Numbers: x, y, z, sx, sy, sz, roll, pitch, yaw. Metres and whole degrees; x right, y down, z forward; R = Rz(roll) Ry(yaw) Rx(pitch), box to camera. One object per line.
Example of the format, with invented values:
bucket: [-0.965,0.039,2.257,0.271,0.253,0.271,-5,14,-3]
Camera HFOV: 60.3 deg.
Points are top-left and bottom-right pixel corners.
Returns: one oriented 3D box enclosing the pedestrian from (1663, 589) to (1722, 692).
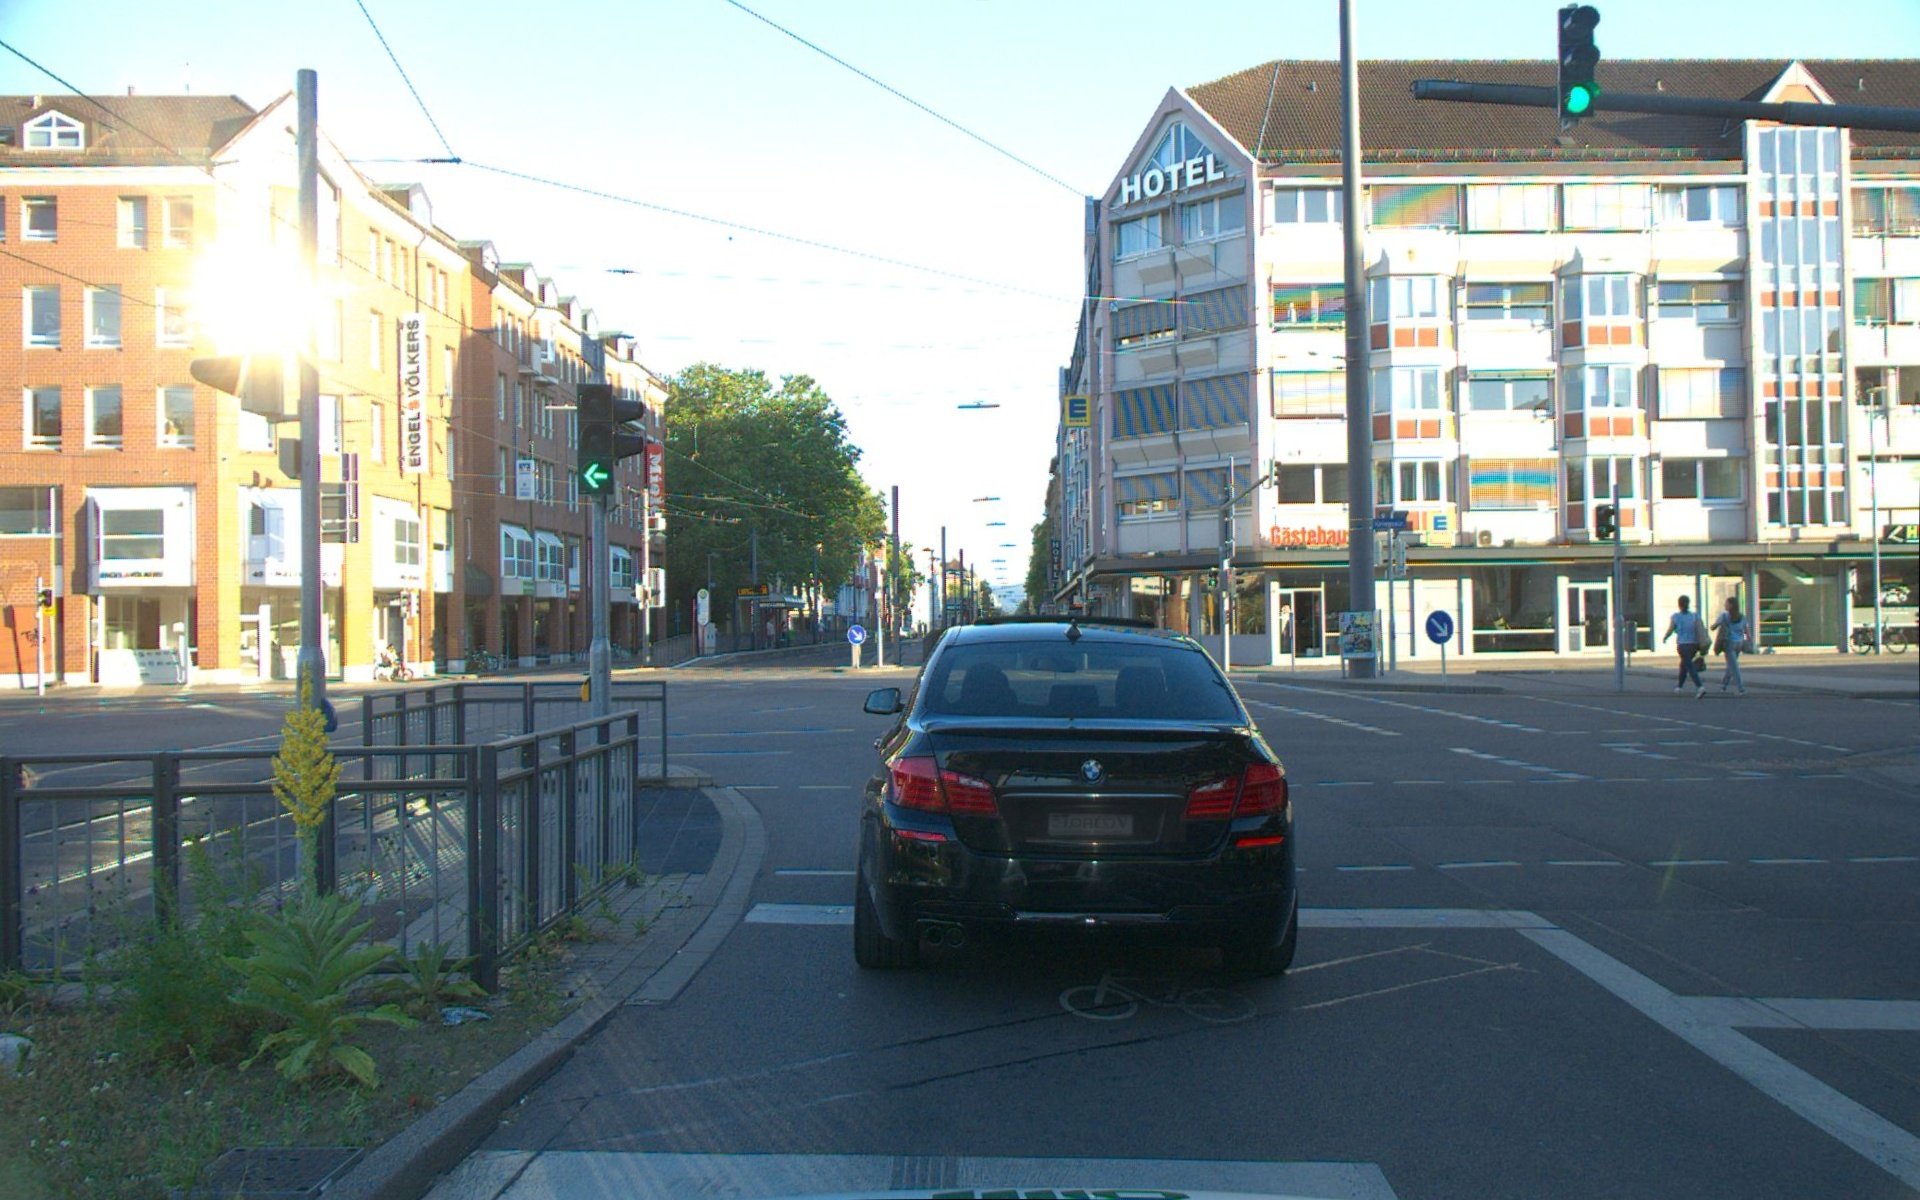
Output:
pedestrian: [12.186,0.663,27.508,0.713,1.678,0.768,-2,-1,37]

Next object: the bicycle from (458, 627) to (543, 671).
bicycle: [-19.412,2.052,69.890,3.229,1.756,1.069,-1,-1,2]

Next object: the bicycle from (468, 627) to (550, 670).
bicycle: [-19.366,2.095,71.058,3.229,1.756,1.069,-1,-1,0]

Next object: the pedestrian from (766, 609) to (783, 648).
pedestrian: [-9.790,1.520,87.432,0.792,2.049,0.678,-1,-1,-2]

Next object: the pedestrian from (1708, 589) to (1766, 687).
pedestrian: [13.090,0.636,27.875,0.691,1.610,0.822,-2,-1,37]

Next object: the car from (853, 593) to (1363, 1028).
car: [0.465,0.783,8.045,1.804,1.521,4.290,1,-1,-2]

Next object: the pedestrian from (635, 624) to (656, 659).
pedestrian: [-18.976,2.490,99.729,1.063,2.049,1.084,-1,-1,-3]

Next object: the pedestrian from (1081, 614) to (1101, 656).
pedestrian: [5.054,1.335,63.889,0.691,1.575,0.906,0,2,-2]
